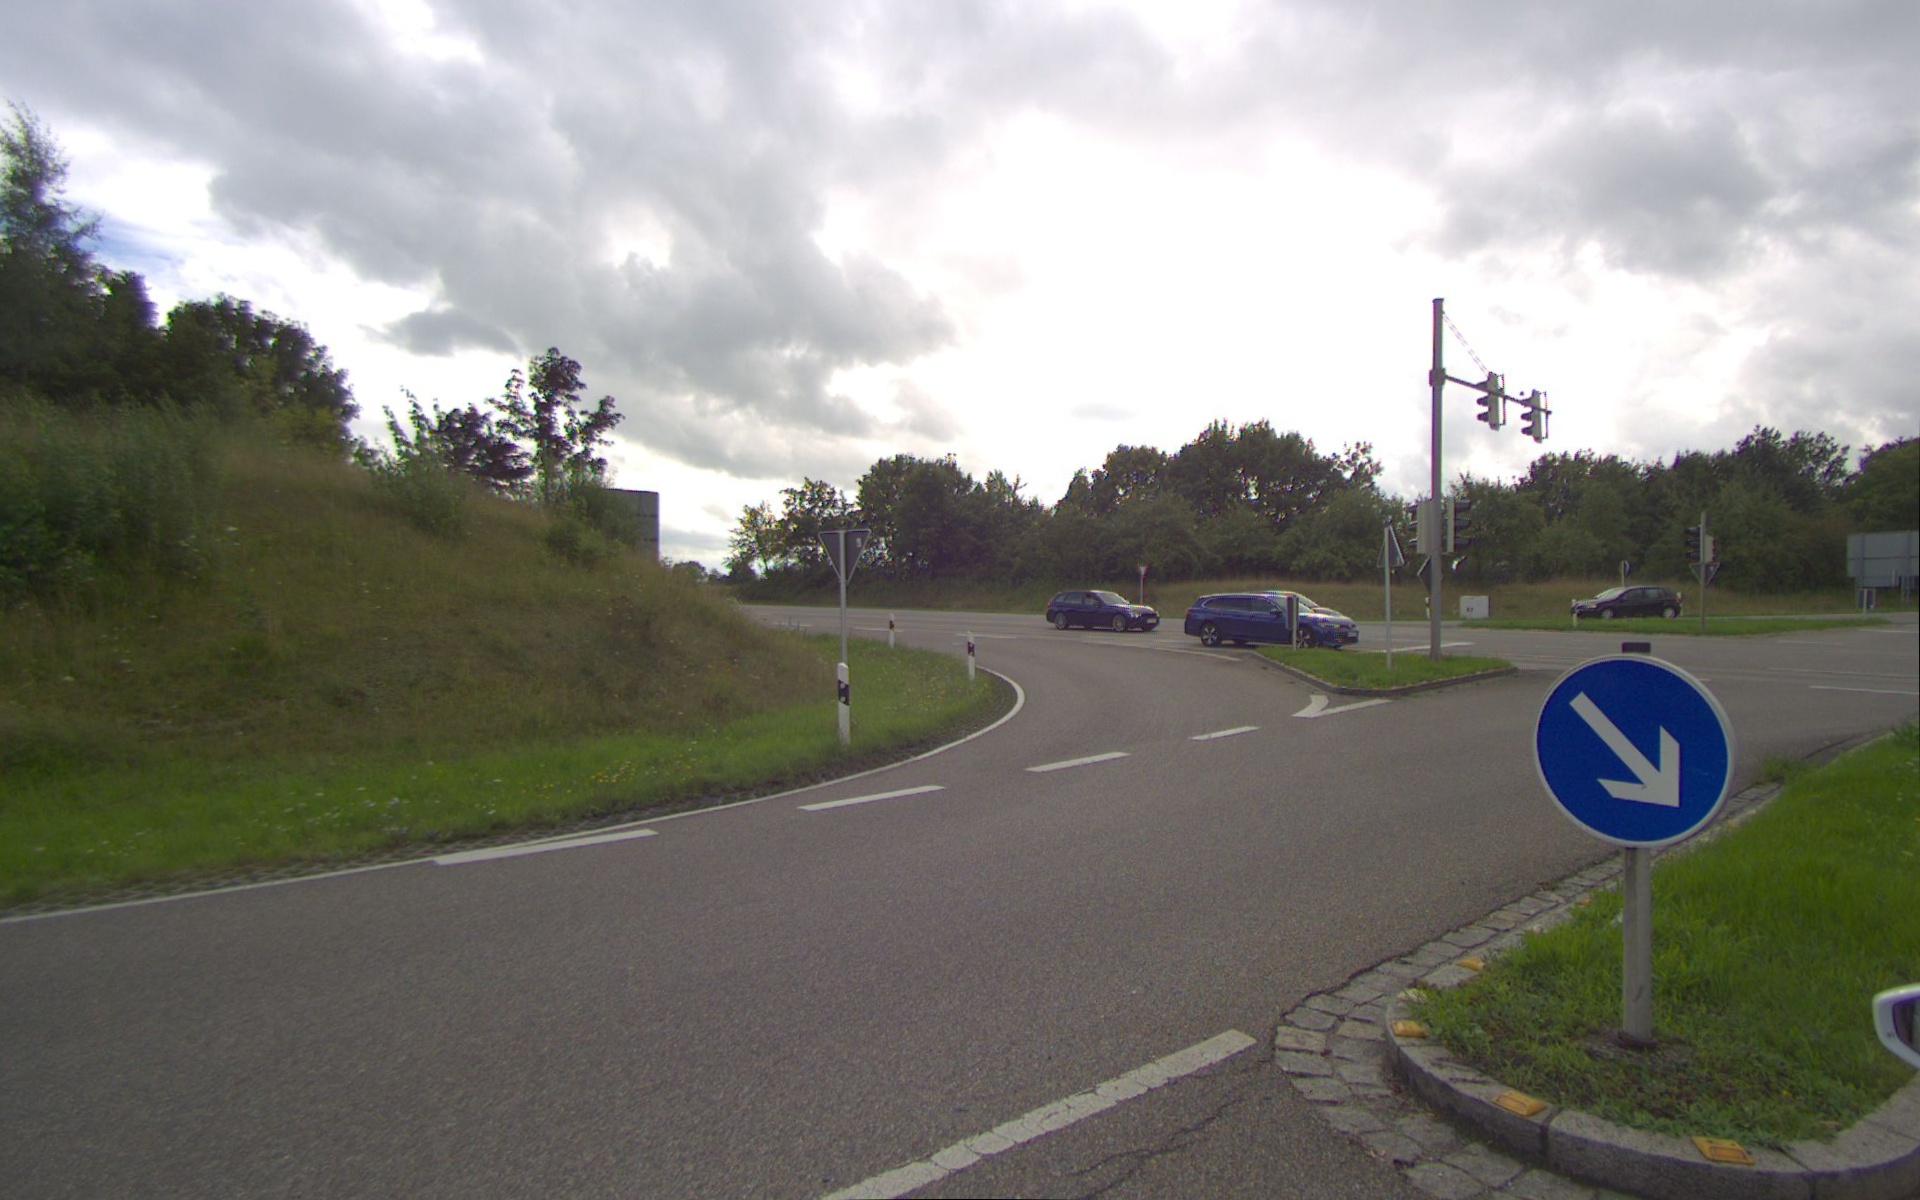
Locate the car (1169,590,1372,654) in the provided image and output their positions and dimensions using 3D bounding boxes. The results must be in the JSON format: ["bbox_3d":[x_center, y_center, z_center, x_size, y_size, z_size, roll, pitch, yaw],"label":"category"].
[{"bbox_3d":[8.477,0.535,27.810,2.038,1.555,5.060,-1,2,-44],"label":"car"}]

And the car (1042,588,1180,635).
[{"bbox_3d":[5.442,0.367,36.742,2.040,1.504,4.820,-2,2,-43],"label":"car"}]
